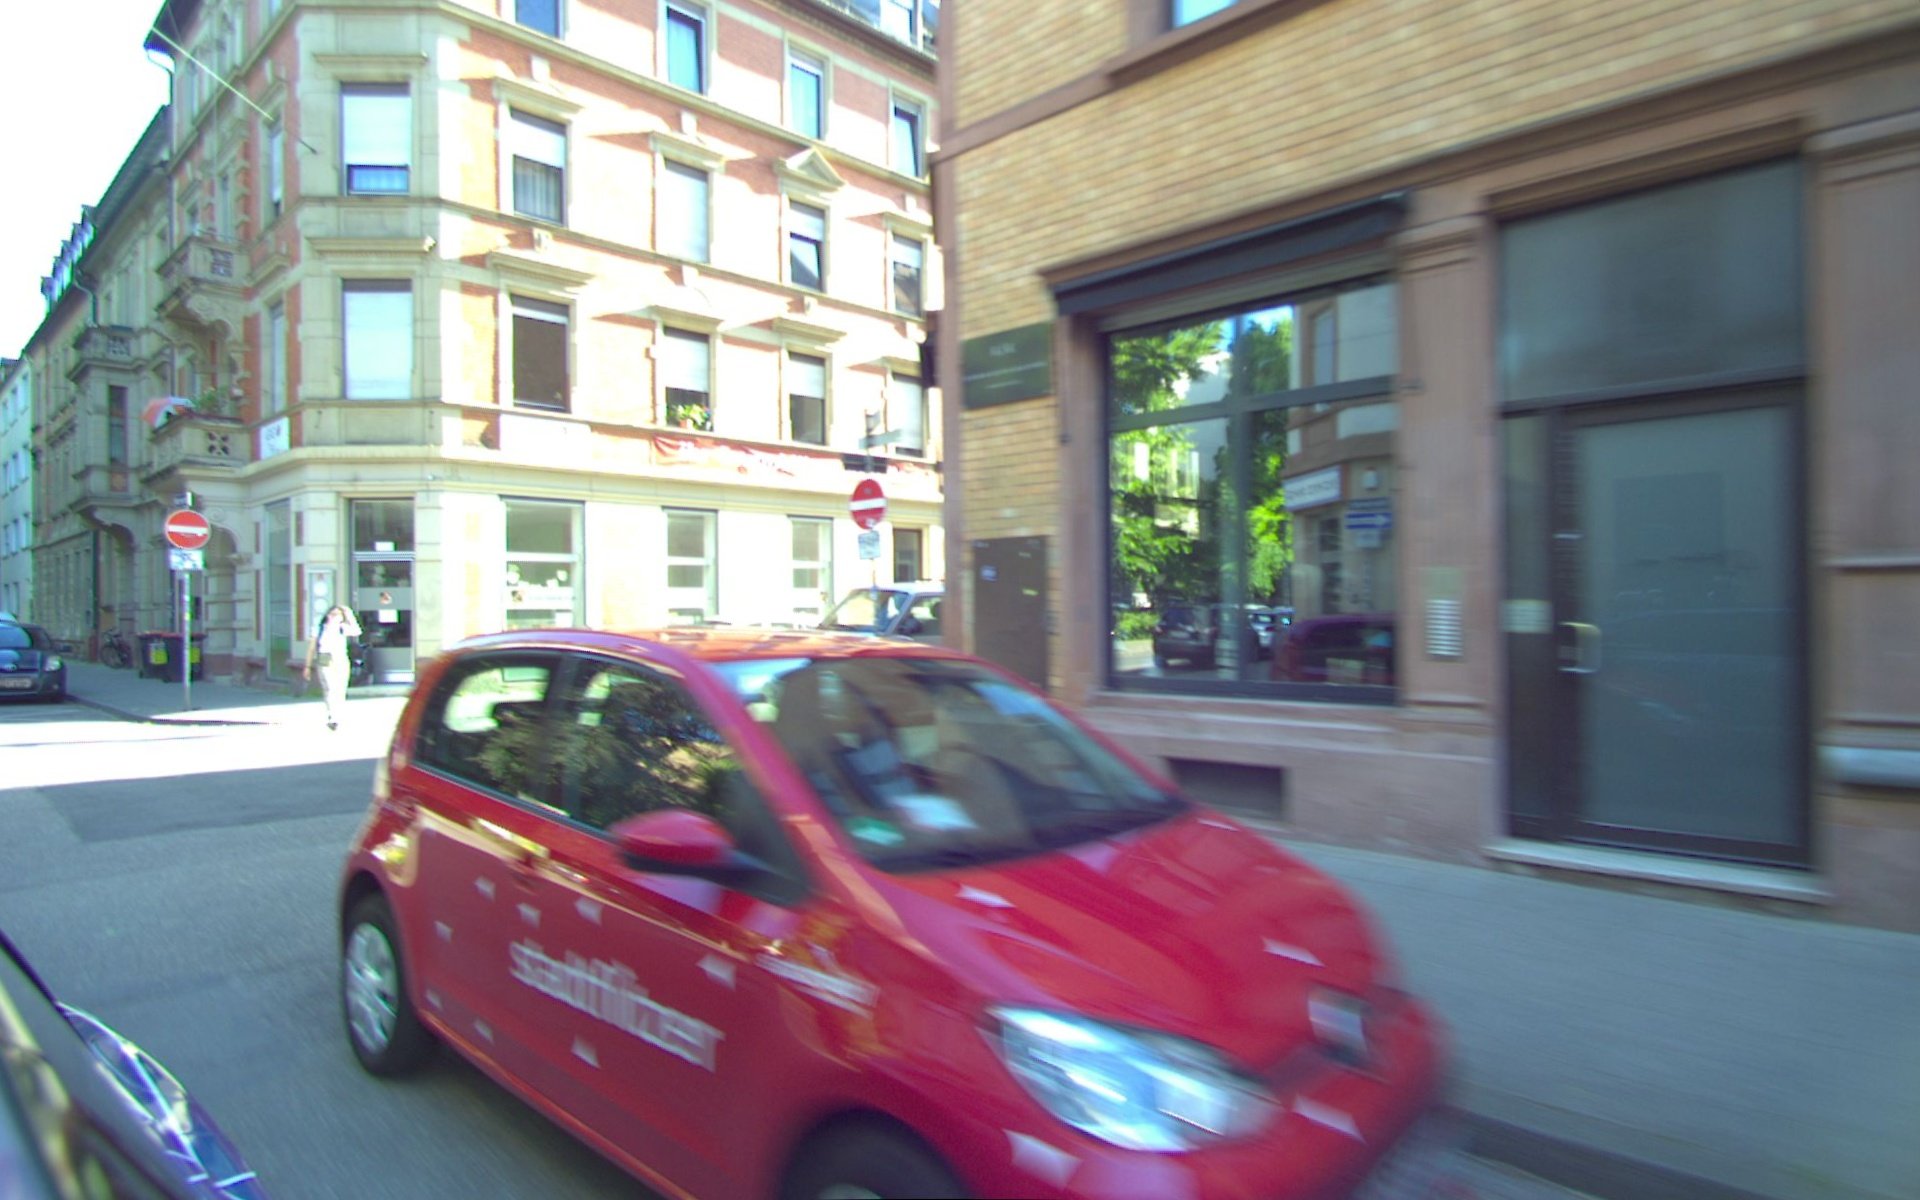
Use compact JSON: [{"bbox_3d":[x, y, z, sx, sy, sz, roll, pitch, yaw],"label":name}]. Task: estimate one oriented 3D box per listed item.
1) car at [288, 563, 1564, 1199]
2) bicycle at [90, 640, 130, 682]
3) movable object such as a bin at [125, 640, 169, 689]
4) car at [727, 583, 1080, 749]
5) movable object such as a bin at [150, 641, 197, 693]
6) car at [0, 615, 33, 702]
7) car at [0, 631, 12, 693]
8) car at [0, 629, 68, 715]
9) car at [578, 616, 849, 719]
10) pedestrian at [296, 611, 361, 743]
[{"bbox_3d":[-0.452,0.779,2.978,3.599,1.492,1.611,-2,-4,41],"label":"car"},{"bbox_3d":[-22.584,1.597,26.868,1.545,1.049,0.565,-2,0,41],"label":"bicycle"},{"bbox_3d":[-18.571,1.468,23.117,0.856,1.049,0.631,-2,0,41],"label":"movable object such as a bin"},{"bbox_3d":[-0.629,0.772,13.986,4.655,1.908,2.029,1,0,-43],"label":"car"},{"bbox_3d":[-16.849,1.420,21.680,0.856,1.049,0.631,-2,0,41],"label":"movable object such as a bin"},{"bbox_3d":[-22.283,1.274,22.591,4.570,1.825,1.812,-2,-4,41],"label":"car"},{"bbox_3d":[-25.777,1.557,25.872,3.968,1.526,1.676,-2,-3,39],"label":"car"},{"bbox_3d":[-18.194,1.307,18.955,3.971,1.492,1.675,-2,-4,41],"label":"car"},{"bbox_3d":[-4.310,1.100,18.157,4.374,1.542,1.869,1,1,-43],"label":"car"},{"bbox_3d":[-8.342,0.987,13.365,0.717,1.656,0.542,1,1,41],"label":"pedestrian"}]
